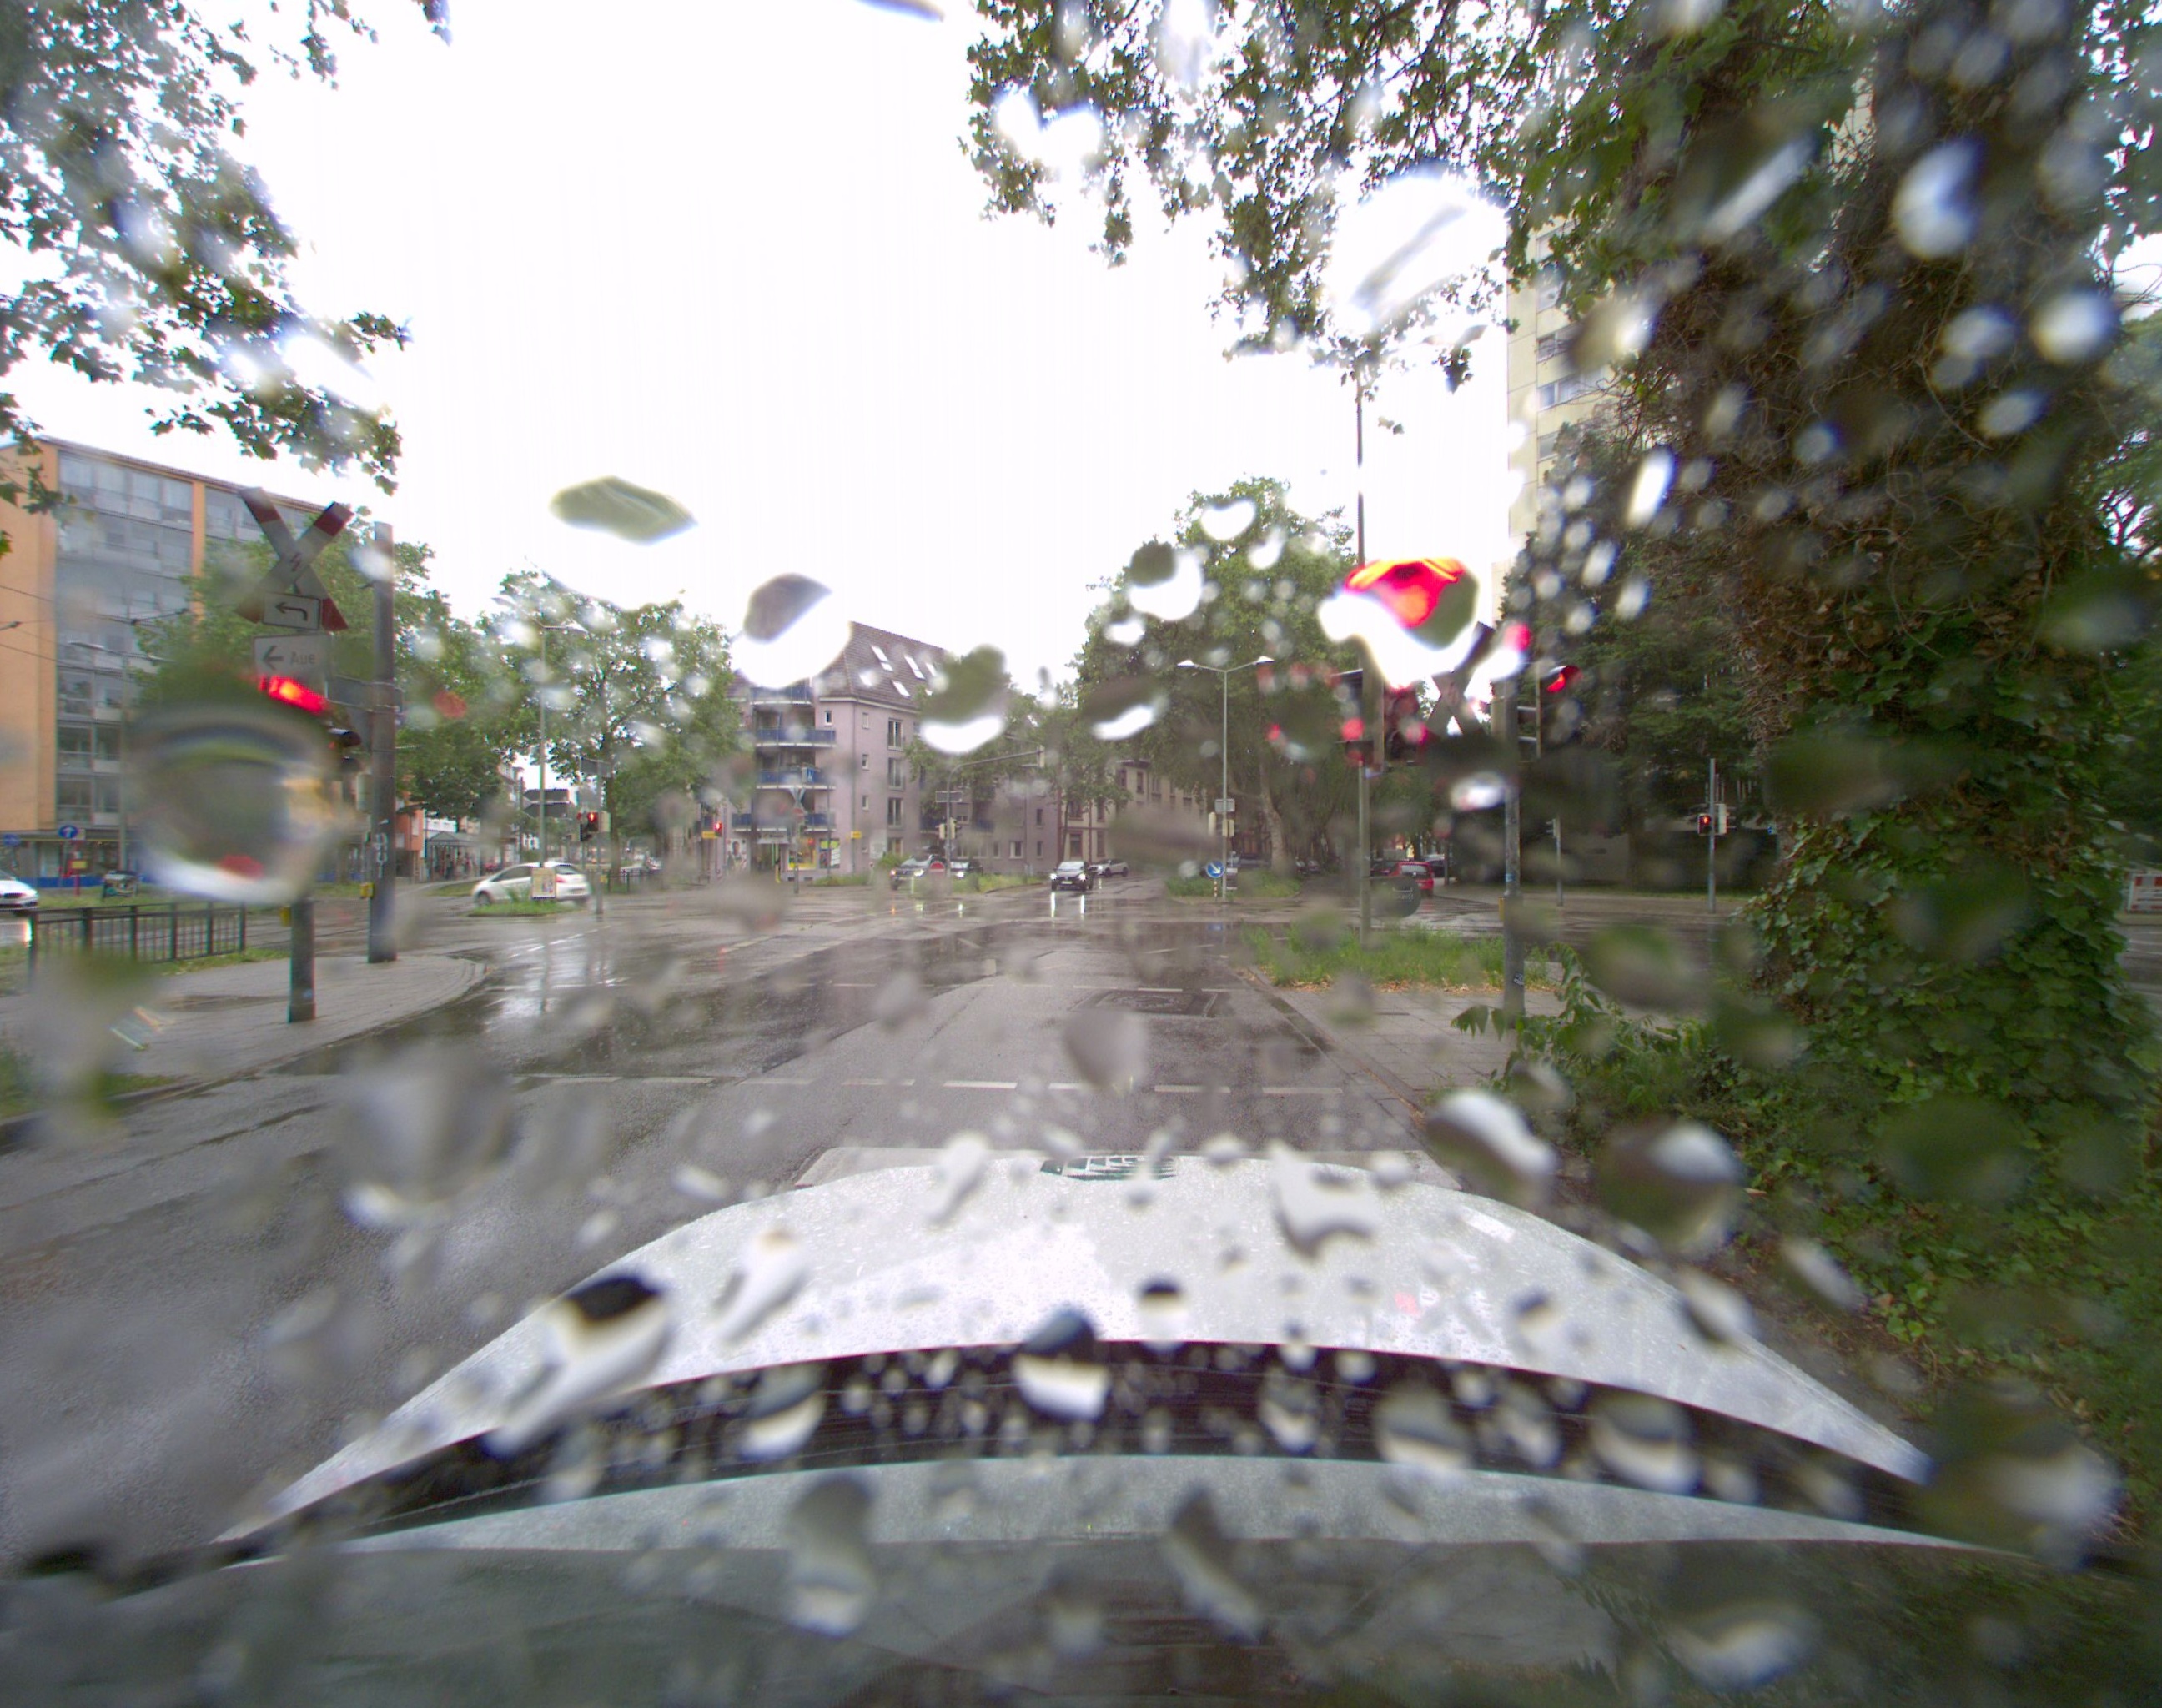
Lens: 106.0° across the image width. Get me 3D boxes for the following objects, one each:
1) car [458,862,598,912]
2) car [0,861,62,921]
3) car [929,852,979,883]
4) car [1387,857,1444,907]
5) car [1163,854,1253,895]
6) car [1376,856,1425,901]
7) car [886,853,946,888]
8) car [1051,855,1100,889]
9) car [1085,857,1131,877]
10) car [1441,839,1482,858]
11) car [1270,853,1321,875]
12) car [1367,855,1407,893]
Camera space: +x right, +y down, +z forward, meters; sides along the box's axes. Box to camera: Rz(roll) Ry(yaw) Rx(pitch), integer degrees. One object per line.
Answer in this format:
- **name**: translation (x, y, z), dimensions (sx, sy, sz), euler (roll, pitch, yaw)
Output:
- **car**: translation (-18.510, 1.084, 27.339), dimensions (3.621, 1.486, 1.729), euler (-2, 0, 8)
- **car**: translation (-32.150, 1.118, 23.427), dimensions (3.978, 1.651, 1.980), euler (-2, 0, 13)
- **car**: translation (-6.988, 0.715, 45.176), dimensions (1.715, 1.552, 3.567), euler (-2, 0, 8)
- **car**: translation (14.803, 1.209, 36.218), dimensions (1.977, 2.013, 4.019), euler (-2, 0, 18)
- **car**: translation (5.151, 0.813, 33.001), dimensions (3.457, 1.523, 1.524), euler (-2, 0, 10)
- **car**: translation (15.863, 1.170, 40.631), dimensions (1.977, 2.013, 4.019), euler (-2, 0, 18)
- **car**: translation (-7.856, 0.749, 39.064), dimensions (1.715, 1.552, 3.567), euler (-2, 0, 8)
- **car**: translation (-0.224, 0.880, 40.712), dimensions (1.591, 1.552, 3.572), euler (-2, 0, 13)
- **car**: translation (2.296, 1.085, 68.294), dimensions (1.660, 1.552, 4.225), euler (-2, 0, 38)
- **car**: translation (42.575, -0.609, 91.150), dimensions (3.953, 2.013, 1.716), euler (-2, 0, 21)
- **car**: translation (17.195, 0.792, 65.303), dimensions (3.571, 1.618, 1.692), euler (-2, 0, 30)
- **car**: translation (17.823, 1.123, 47.604), dimensions (1.977, 2.013, 4.019), euler (-2, 0, 18)
